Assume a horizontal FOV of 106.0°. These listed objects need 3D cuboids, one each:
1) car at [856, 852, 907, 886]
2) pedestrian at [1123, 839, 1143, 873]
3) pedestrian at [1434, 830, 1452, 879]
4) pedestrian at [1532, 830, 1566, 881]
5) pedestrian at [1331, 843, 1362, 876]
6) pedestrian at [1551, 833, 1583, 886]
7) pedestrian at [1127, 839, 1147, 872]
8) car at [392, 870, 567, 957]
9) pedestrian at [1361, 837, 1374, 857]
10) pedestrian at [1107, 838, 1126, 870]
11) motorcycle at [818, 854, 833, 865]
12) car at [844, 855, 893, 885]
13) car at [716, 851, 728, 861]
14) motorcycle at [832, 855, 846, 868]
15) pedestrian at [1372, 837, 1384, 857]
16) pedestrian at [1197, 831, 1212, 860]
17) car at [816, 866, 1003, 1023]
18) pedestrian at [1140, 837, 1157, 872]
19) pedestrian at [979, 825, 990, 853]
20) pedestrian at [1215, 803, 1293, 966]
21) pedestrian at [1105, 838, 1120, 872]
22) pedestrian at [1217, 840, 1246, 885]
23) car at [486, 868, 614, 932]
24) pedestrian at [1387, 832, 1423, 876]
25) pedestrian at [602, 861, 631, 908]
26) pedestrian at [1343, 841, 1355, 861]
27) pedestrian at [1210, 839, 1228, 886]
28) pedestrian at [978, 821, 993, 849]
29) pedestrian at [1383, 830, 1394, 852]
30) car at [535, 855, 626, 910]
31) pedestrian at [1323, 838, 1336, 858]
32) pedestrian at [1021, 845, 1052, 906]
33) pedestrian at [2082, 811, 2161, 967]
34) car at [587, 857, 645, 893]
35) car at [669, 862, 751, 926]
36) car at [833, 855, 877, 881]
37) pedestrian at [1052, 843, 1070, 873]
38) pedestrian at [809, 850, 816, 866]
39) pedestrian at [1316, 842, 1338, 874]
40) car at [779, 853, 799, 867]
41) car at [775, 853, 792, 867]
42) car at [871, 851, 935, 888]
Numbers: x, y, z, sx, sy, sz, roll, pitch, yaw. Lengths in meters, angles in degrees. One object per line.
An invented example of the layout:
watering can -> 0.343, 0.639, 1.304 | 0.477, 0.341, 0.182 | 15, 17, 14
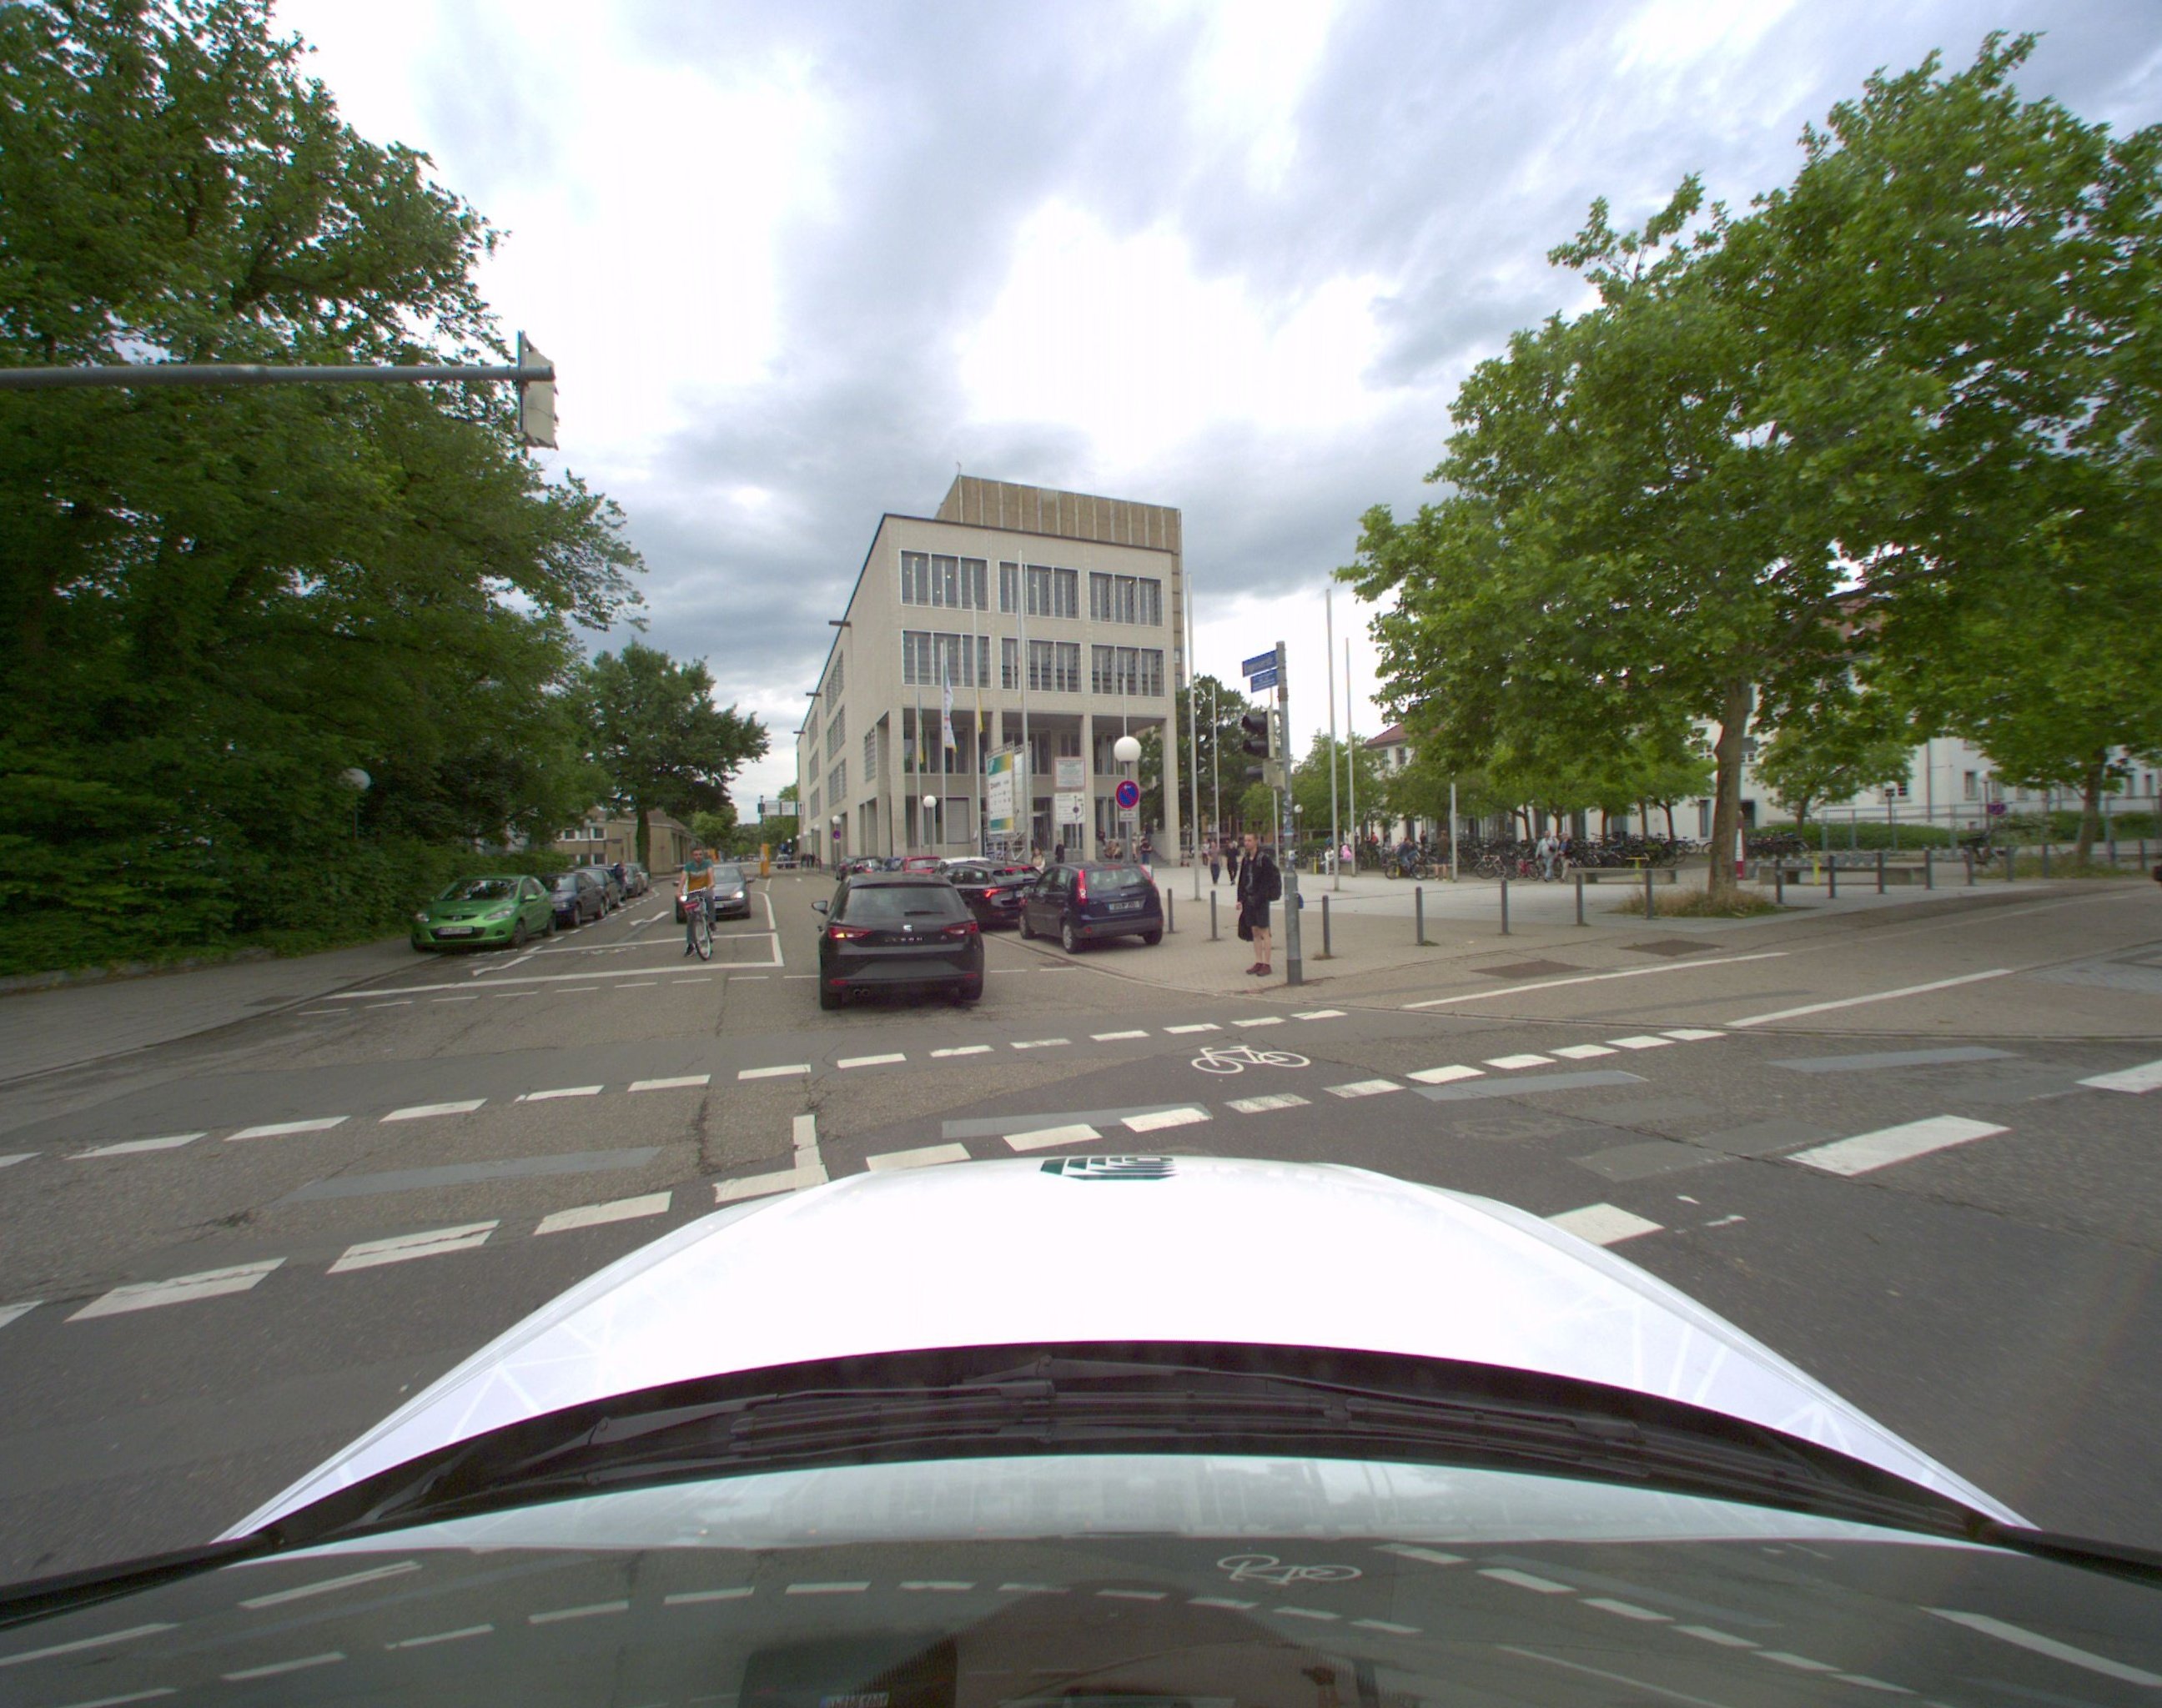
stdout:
car -> -9.593, 0.668, 39.001 | 1.855, 1.442, 4.388 | -1, 2, -21
pedestrian -> 2.787, 0.119, 43.485 | 0.768, 1.785, 0.729 | -1, 0, -36
pedestrian -> 13.520, 0.020, 30.443 | 0.505, 1.833, 0.676 | -1, 0, 18
pedestrian -> 15.914, 0.050, 27.718 | 0.673, 1.715, 0.675 | -2, 0, -16
pedestrian -> 11.775, 0.237, 36.087 | 0.855, 1.420, 0.959 | -1, 0, -33
pedestrian -> 16.046, 0.164, 26.905 | 0.585, 1.715, 0.654 | -1, 0, -16
pedestrian -> 3.092, 0.064, 44.996 | 0.725, 1.785, 0.729 | -2, 0, -36
car -> -12.454, 1.128, 17.191 | 1.804, 1.469, 4.219 | -1, 0, -20
pedestrian -> 23.812, -0.617, 67.698 | 0.663, 1.641, 0.688 | -1, 0, -24
pedestrian -> 1.946, -0.016, 44.796 | 0.779, 1.715, 0.599 | -2, 0, -21
motorcycle -> -28.767, 0.641, 91.678 | 0.756, 1.148, 2.665 | 1, 2, 3
car -> -11.410, 0.821, 43.502 | 1.826, 1.443, 4.486 | -3, 1, -23
car -> -58.283, 0.300, 132.264 | 1.778, 1.601, 3.968 | -1, 0, -24
motorcycle -> -22.683, 0.668, 76.374 | 0.563, 1.148, 2.219 | 1, 2, 3
pedestrian -> 24.328, -0.572, 66.678 | 0.663, 1.641, 0.661 | -1, 0, -24
pedestrian -> 7.172, -0.516, 47.183 | 0.729, 1.640, 0.935 | 1, 2, 13
car -> -2.320, 0.907, 10.106 | 1.788, 1.419, 4.103 | 0, 0, -19
pedestrian -> 3.629, 0.034, 43.965 | 0.596, 1.865, 0.784 | -2, 0, 26
pedestrian -> -5.792, -0.905, 49.043 | 0.628, 1.658, 0.805 | 1, 2, -6
pedestrian -> 2.163, 0.369, 10.247 | 0.788, 1.952, 0.758 | -2, 0, 2
pedestrian -> 1.756, 0.058, 45.602 | 0.593, 1.841, 0.616 | 0, -1, -21
pedestrian -> 5.888, 0.324, 31.852 | 0.897, 1.712, 0.698 | 0, 2, 35
car -> -14.082, 1.149, 21.877 | 1.803, 1.408, 4.309 | -1, 0, -18
pedestrian -> 12.913, -0.004, 32.480 | 0.854, 1.704, 0.960 | -2, 0, -26
pedestrian -> -16.943, 1.099, 29.736 | 0.741, 1.661, 0.961 | -2, 1, -22
pedestrian -> 22.214, -0.234, 67.549 | 0.664, 1.641, 0.661 | -1, 0, -25
pedestrian -> 5.397, 0.309, 31.870 | 0.638, 1.807, 0.649 | 1, 2, 6
pedestrian -> -5.640, -1.117, 48.124 | 0.801, 1.658, 0.632 | 1, 2, 2
pedestrian -> 23.238, -0.955, 61.473 | 0.654, 1.641, 0.670 | -2, 0, 29
car -> -16.457, 0.865, 27.013 | 1.805, 1.560, 4.497 | -1, 1, -22
pedestrian -> 20.957, -0.492, 68.668 | 0.663, 1.641, 0.661 | -2, 0, -24
pedestrian -> -1.358, 0.640, 24.724 | 0.791, 1.787, 0.818 | -1, 0, -10
pedestrian -> 11.642, 0.356, 8.759 | 0.755, 1.626, 0.791 | -1, 3, -9
car -> -20.270, 0.860, 35.640 | 1.771, 1.411, 3.977 | -1, 1, -24
car -> -9.869, 0.984, 21.921 | 1.790, 1.497, 4.137 | -1, 0, -22
car -> -13.591, 0.810, 48.868 | 2.002, 1.452, 4.886 | -1, 0, -22
pedestrian -> -1.133, 0.231, 45.680 | 0.758, 1.669, 0.700 | -2, 0, -21
pedestrian -> -30.460, 0.440, 92.388 | 0.732, 1.698, 0.583 | 0, 2, -28
pedestrian -> 11.131, 0.194, 36.869 | 0.759, 1.413, 0.678 | -1, 0, 36
car -> -35.351, 0.705, 98.476 | 2.002, 1.622, 4.394 | -2, 0, -23
car -> -41.655, 0.857, 114.103 | 2.002, 1.782, 4.395 | -3, 1, -22
car -> -7.551, 0.622, 34.282 | 1.703, 1.411, 4.340 | -2, 0, -25
